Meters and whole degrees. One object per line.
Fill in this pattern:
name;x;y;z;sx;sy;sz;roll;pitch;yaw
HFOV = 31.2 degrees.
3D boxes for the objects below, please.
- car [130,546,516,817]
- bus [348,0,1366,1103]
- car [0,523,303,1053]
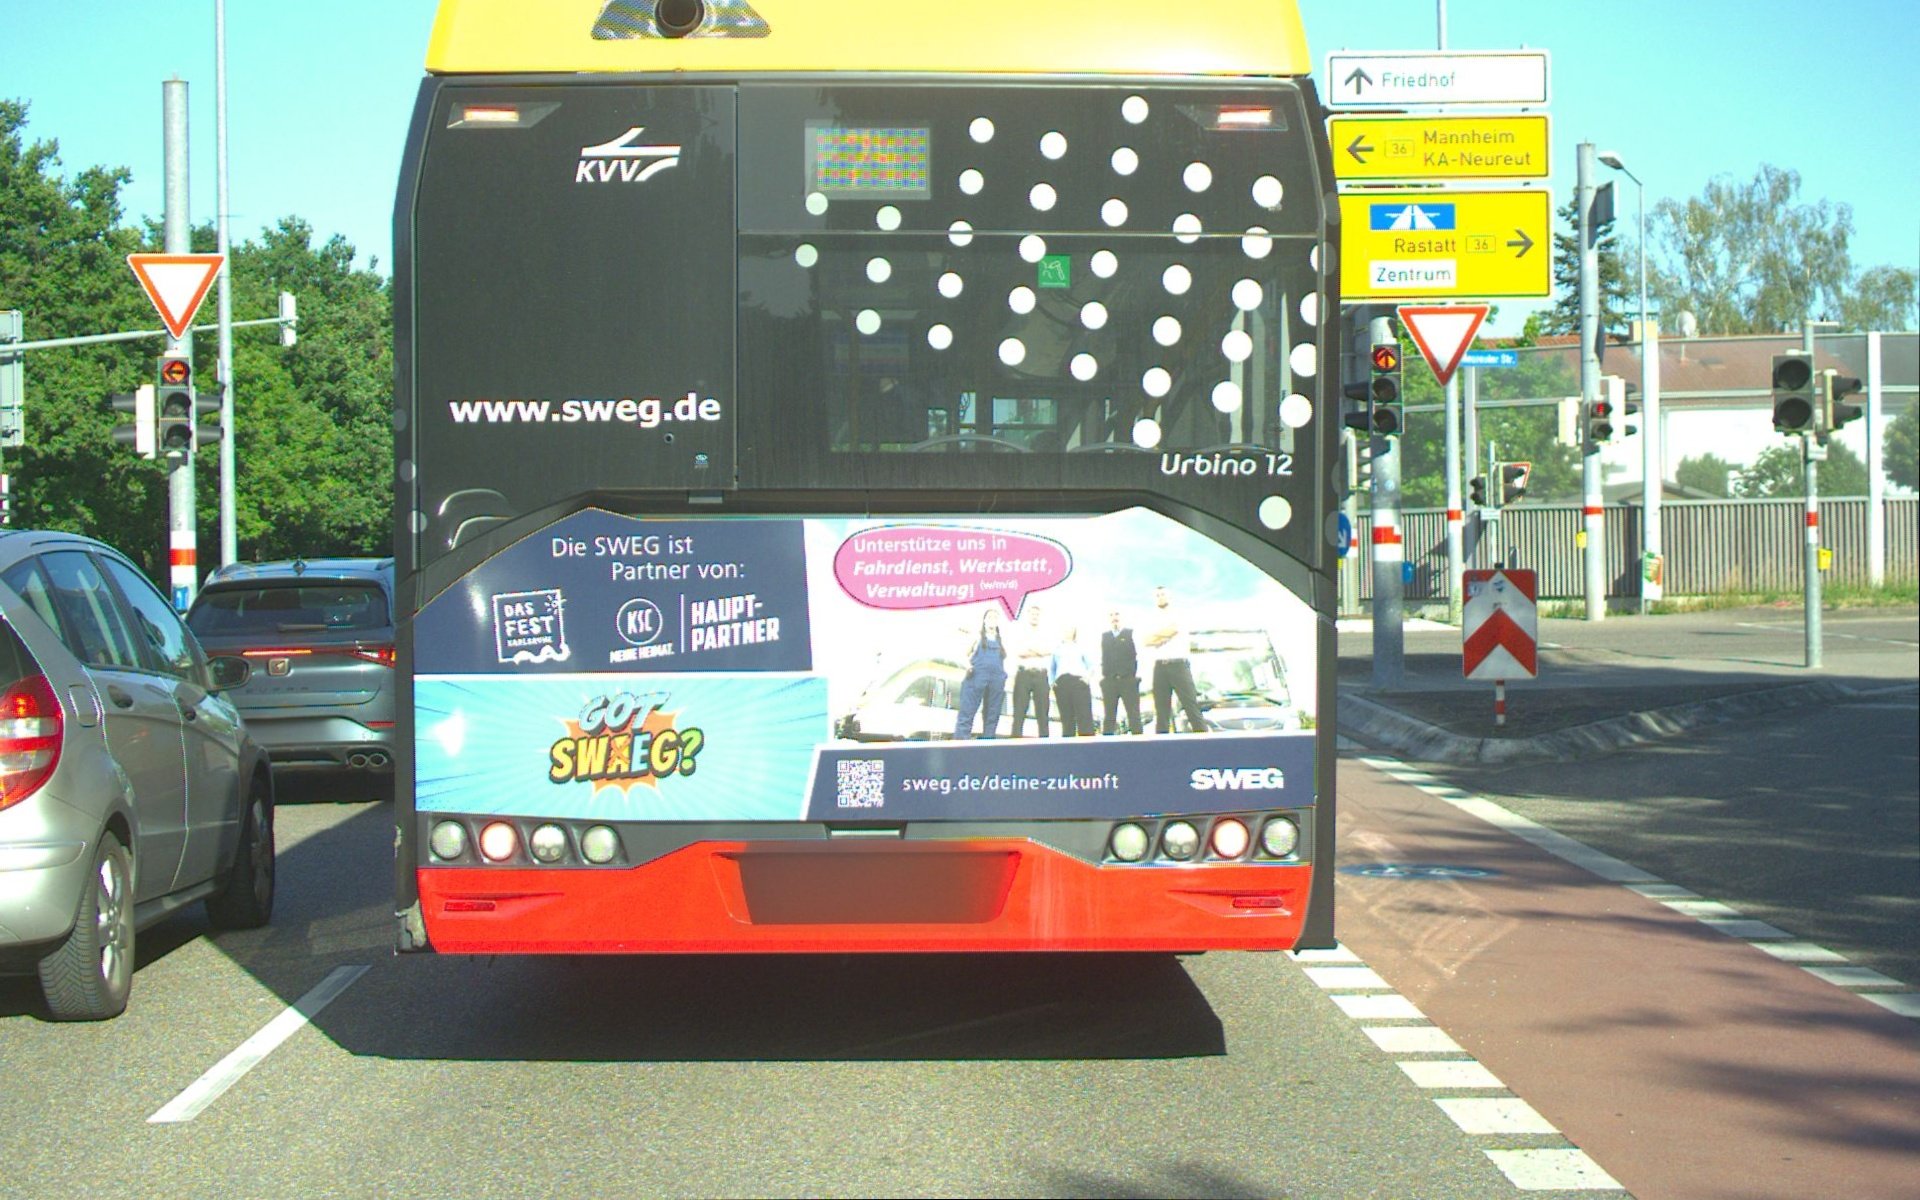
car;-3.809;0.426;21.133;1.692;1.453;3.751;-2;1;-1
bus;-0.290;-0.406;14.900;2.642;3.156;11.861;0;1;0
car;-3.604;0.556;12.292;1.761;1.584;4.000;-2;1;-1
